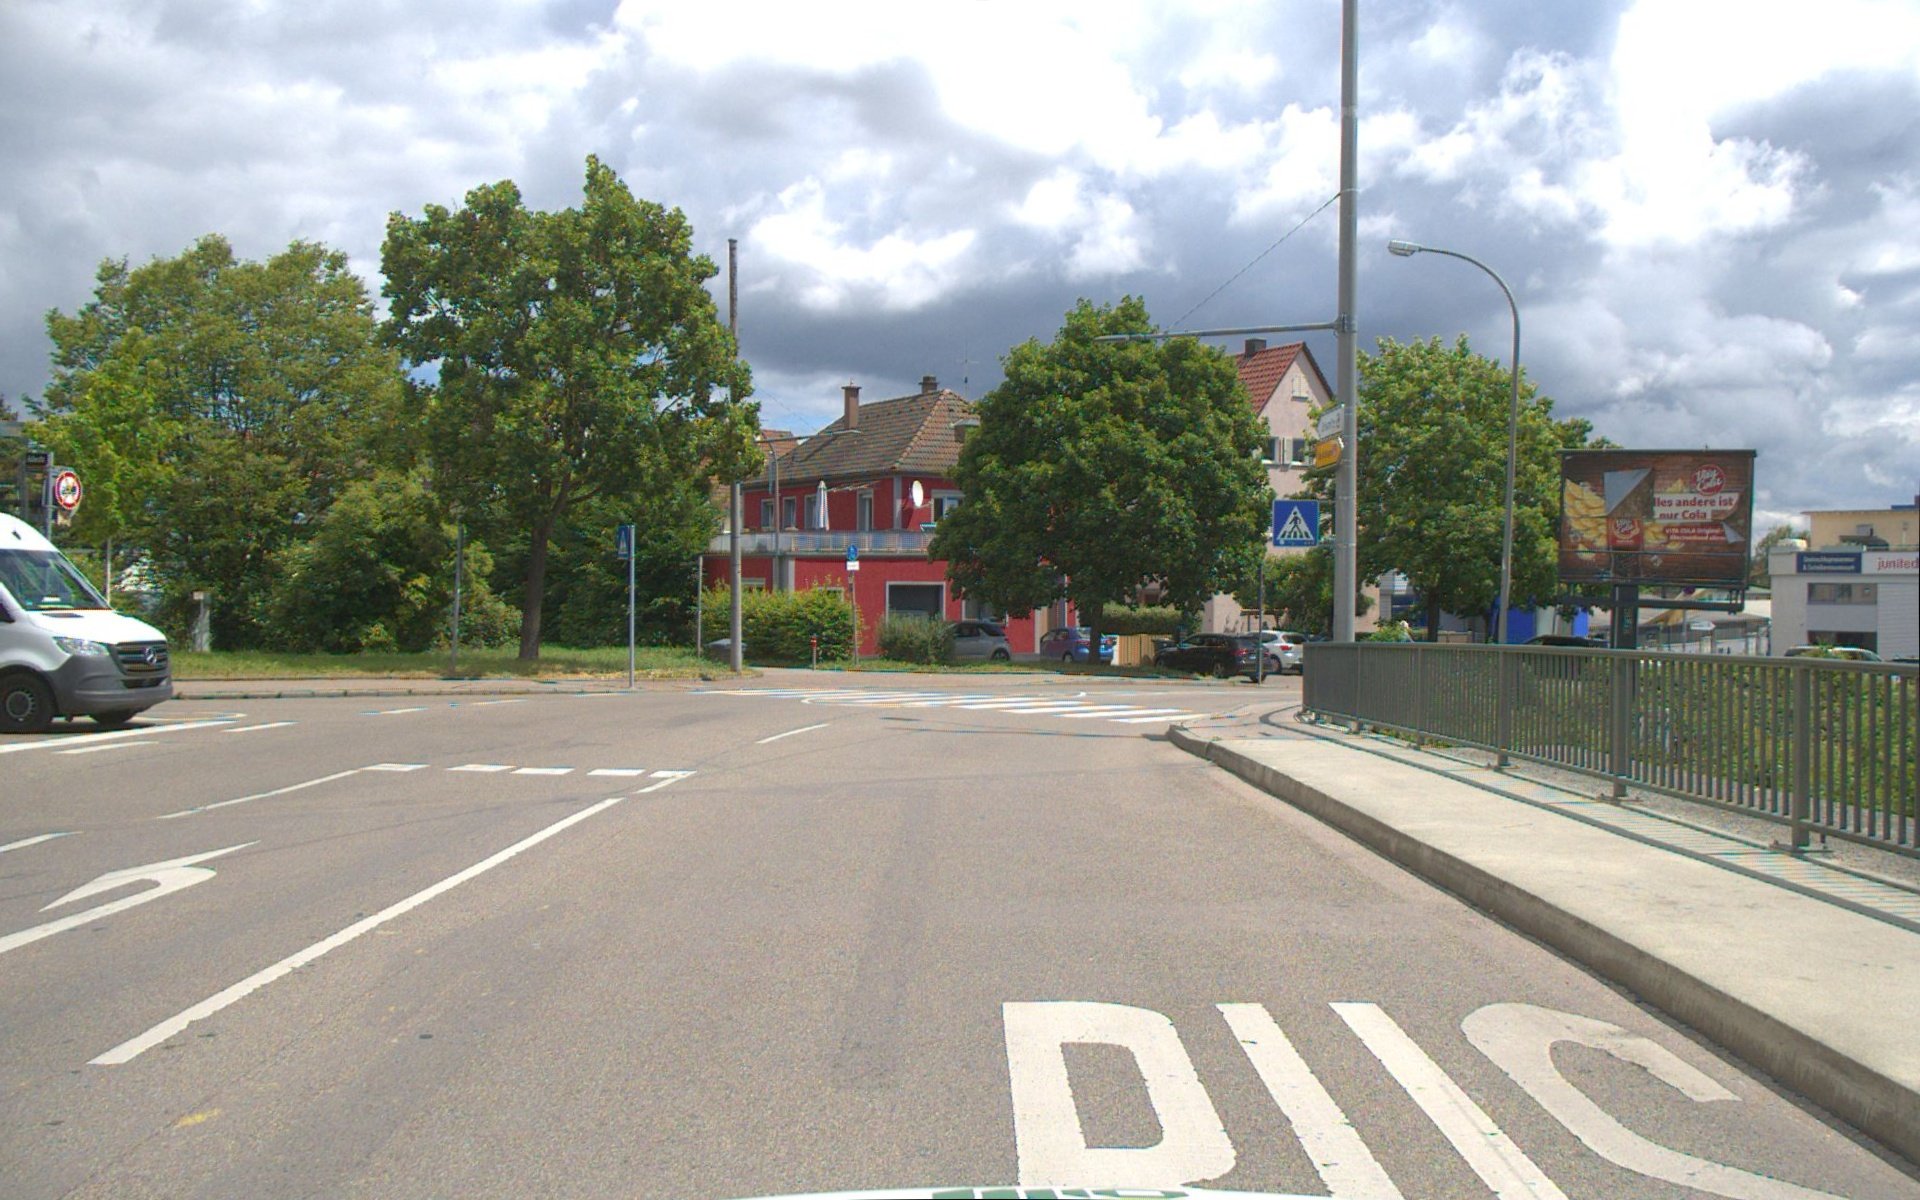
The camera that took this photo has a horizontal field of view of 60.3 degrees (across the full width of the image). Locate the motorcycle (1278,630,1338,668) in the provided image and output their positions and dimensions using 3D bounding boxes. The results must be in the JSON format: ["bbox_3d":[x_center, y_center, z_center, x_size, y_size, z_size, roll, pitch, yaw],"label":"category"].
[{"bbox_3d":[13.403,1.888,63.669,2.209,1.338,0.909,3,0,-34],"label":"motorcycle"}]

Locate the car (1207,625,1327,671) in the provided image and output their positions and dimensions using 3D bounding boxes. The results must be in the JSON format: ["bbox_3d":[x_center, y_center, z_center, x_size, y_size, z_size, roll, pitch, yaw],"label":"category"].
[{"bbox_3d":[10.509,1.632,56.842,1.854,1.428,3.883,3,-1,-35],"label":"car"}]

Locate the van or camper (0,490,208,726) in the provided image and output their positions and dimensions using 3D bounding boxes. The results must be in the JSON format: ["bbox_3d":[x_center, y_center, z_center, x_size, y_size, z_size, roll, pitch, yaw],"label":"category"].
[{"bbox_3d":[-12.279,0.127,19.547,5.786,2.612,2.194,-1,-1,2],"label":"van or camper"}]

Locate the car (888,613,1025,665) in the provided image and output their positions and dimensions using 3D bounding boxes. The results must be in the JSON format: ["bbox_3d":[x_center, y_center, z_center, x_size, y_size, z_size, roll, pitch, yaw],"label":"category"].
[{"bbox_3d":[-0.090,1.231,51.738,4.027,1.450,1.627,2,0,-33],"label":"car"}]

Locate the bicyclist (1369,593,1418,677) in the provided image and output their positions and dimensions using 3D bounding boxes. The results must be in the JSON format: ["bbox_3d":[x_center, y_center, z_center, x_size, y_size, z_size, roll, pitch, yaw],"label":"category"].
[{"bbox_3d":[9.820,0.798,37.429,0.674,1.858,1.075,-1,-4,39],"label":"bicyclist"}]

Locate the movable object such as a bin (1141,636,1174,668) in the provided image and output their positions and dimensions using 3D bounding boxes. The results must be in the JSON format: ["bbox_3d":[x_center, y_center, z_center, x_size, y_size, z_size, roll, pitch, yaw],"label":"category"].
[{"bbox_3d":[7.109,1.861,59.430,0.868,1.080,0.751,3,0,-28],"label":"movable object such as a bin"}]

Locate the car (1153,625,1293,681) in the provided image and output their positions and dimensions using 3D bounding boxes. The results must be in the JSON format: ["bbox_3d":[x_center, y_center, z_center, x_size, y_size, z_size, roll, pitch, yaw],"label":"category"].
[{"bbox_3d":[7.892,1.580,49.983,1.974,1.417,4.100,2,0,-31],"label":"car"}]

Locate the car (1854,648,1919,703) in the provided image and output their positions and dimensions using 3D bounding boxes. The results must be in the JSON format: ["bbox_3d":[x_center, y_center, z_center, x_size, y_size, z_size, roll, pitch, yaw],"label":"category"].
[{"bbox_3d":[28.816,2.278,49.433,4.515,1.513,1.692,3,0,-33],"label":"car"}]

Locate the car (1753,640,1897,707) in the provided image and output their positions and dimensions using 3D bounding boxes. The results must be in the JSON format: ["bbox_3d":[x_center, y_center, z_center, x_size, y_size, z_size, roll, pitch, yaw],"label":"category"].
[{"bbox_3d":[24.342,2.077,46.485,4.253,1.707,1.692,3,0,-33],"label":"car"}]

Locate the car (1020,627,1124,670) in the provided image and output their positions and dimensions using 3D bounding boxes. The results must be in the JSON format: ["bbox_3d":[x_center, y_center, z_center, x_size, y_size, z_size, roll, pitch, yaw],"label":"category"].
[{"bbox_3d":[3.916,1.686,58.276,1.819,1.402,3.773,2,-1,-31],"label":"car"}]
